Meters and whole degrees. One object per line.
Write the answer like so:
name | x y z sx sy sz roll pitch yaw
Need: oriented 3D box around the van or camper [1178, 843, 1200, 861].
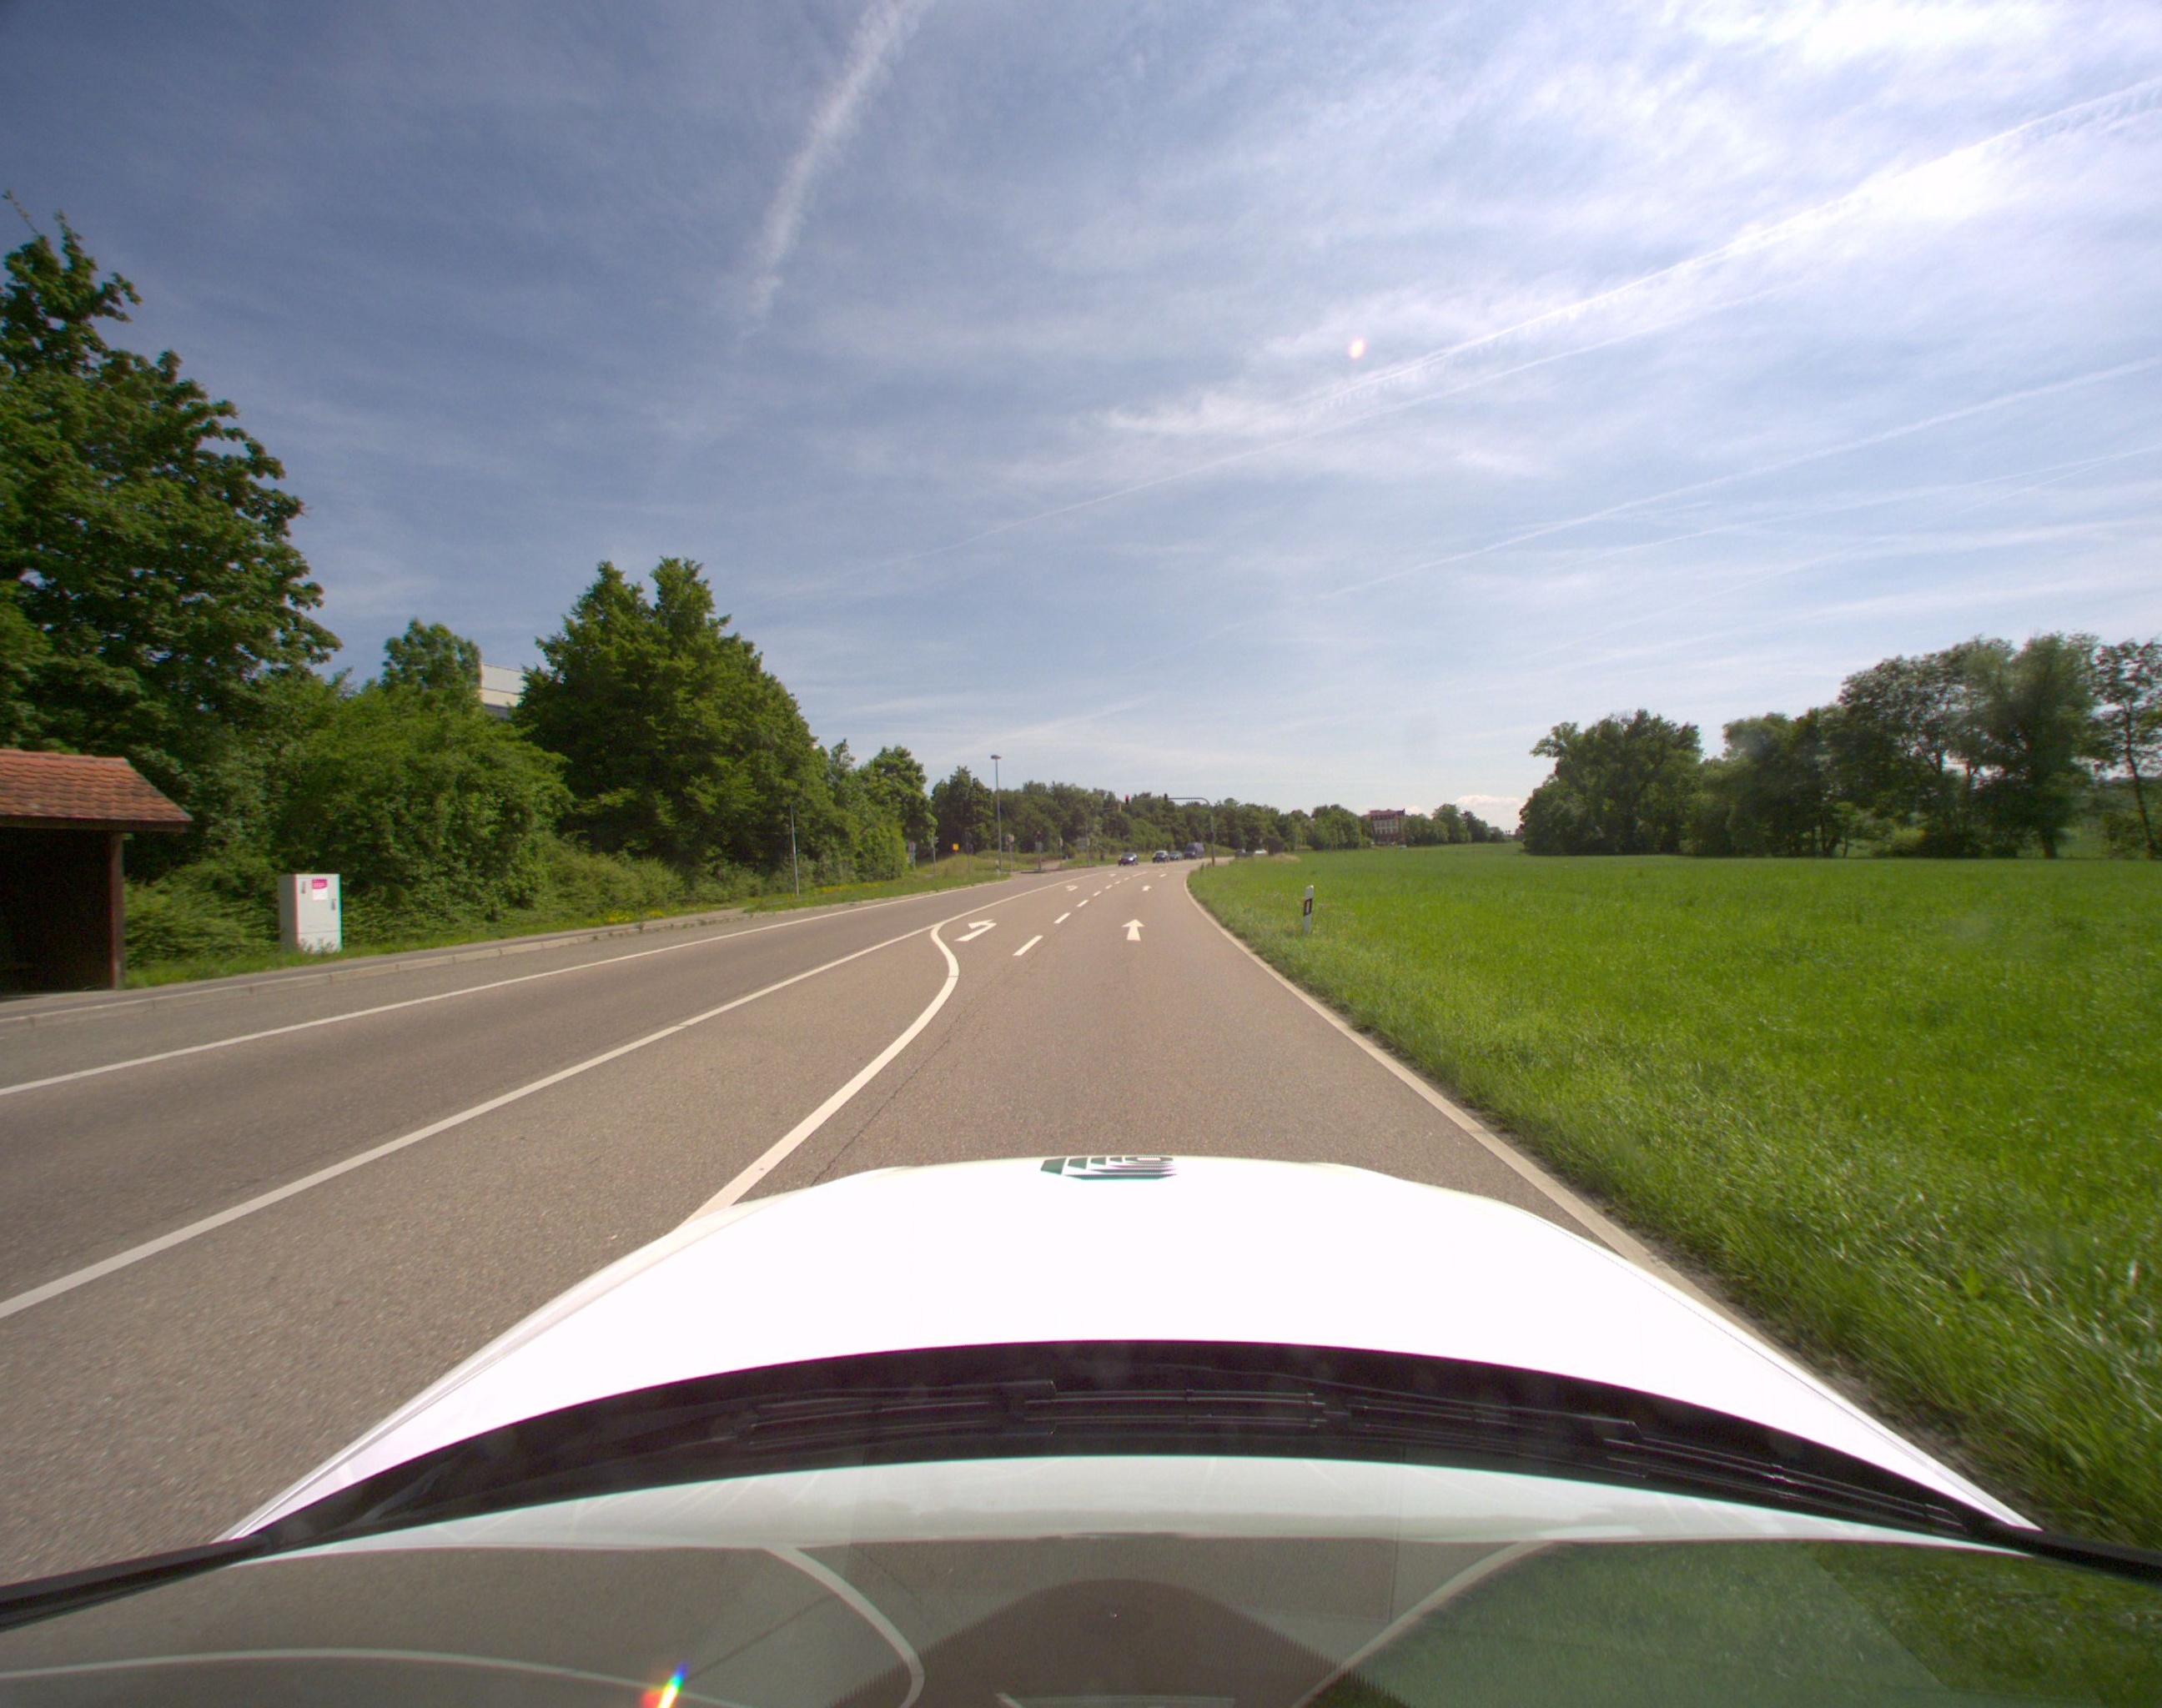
van or camper | 18.620 -0.367 139.881 2.221 2.913 7.283 -1 1 19

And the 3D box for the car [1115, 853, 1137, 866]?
car | 5.237 0.589 93.831 1.778 1.474 4.326 -1 0 13

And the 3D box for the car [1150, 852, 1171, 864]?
car | 10.941 0.512 112.050 1.958 1.562 4.208 -1 0 18

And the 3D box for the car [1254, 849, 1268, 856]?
car | 40.852 -0.276 184.712 1.919 1.548 4.656 -1 0 29

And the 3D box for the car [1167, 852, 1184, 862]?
car | 14.600 0.507 125.630 1.693 1.483 3.850 -1 0 19

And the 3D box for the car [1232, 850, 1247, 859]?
car | 28.735 0.010 147.612 1.977 1.574 4.020 -1 0 20
